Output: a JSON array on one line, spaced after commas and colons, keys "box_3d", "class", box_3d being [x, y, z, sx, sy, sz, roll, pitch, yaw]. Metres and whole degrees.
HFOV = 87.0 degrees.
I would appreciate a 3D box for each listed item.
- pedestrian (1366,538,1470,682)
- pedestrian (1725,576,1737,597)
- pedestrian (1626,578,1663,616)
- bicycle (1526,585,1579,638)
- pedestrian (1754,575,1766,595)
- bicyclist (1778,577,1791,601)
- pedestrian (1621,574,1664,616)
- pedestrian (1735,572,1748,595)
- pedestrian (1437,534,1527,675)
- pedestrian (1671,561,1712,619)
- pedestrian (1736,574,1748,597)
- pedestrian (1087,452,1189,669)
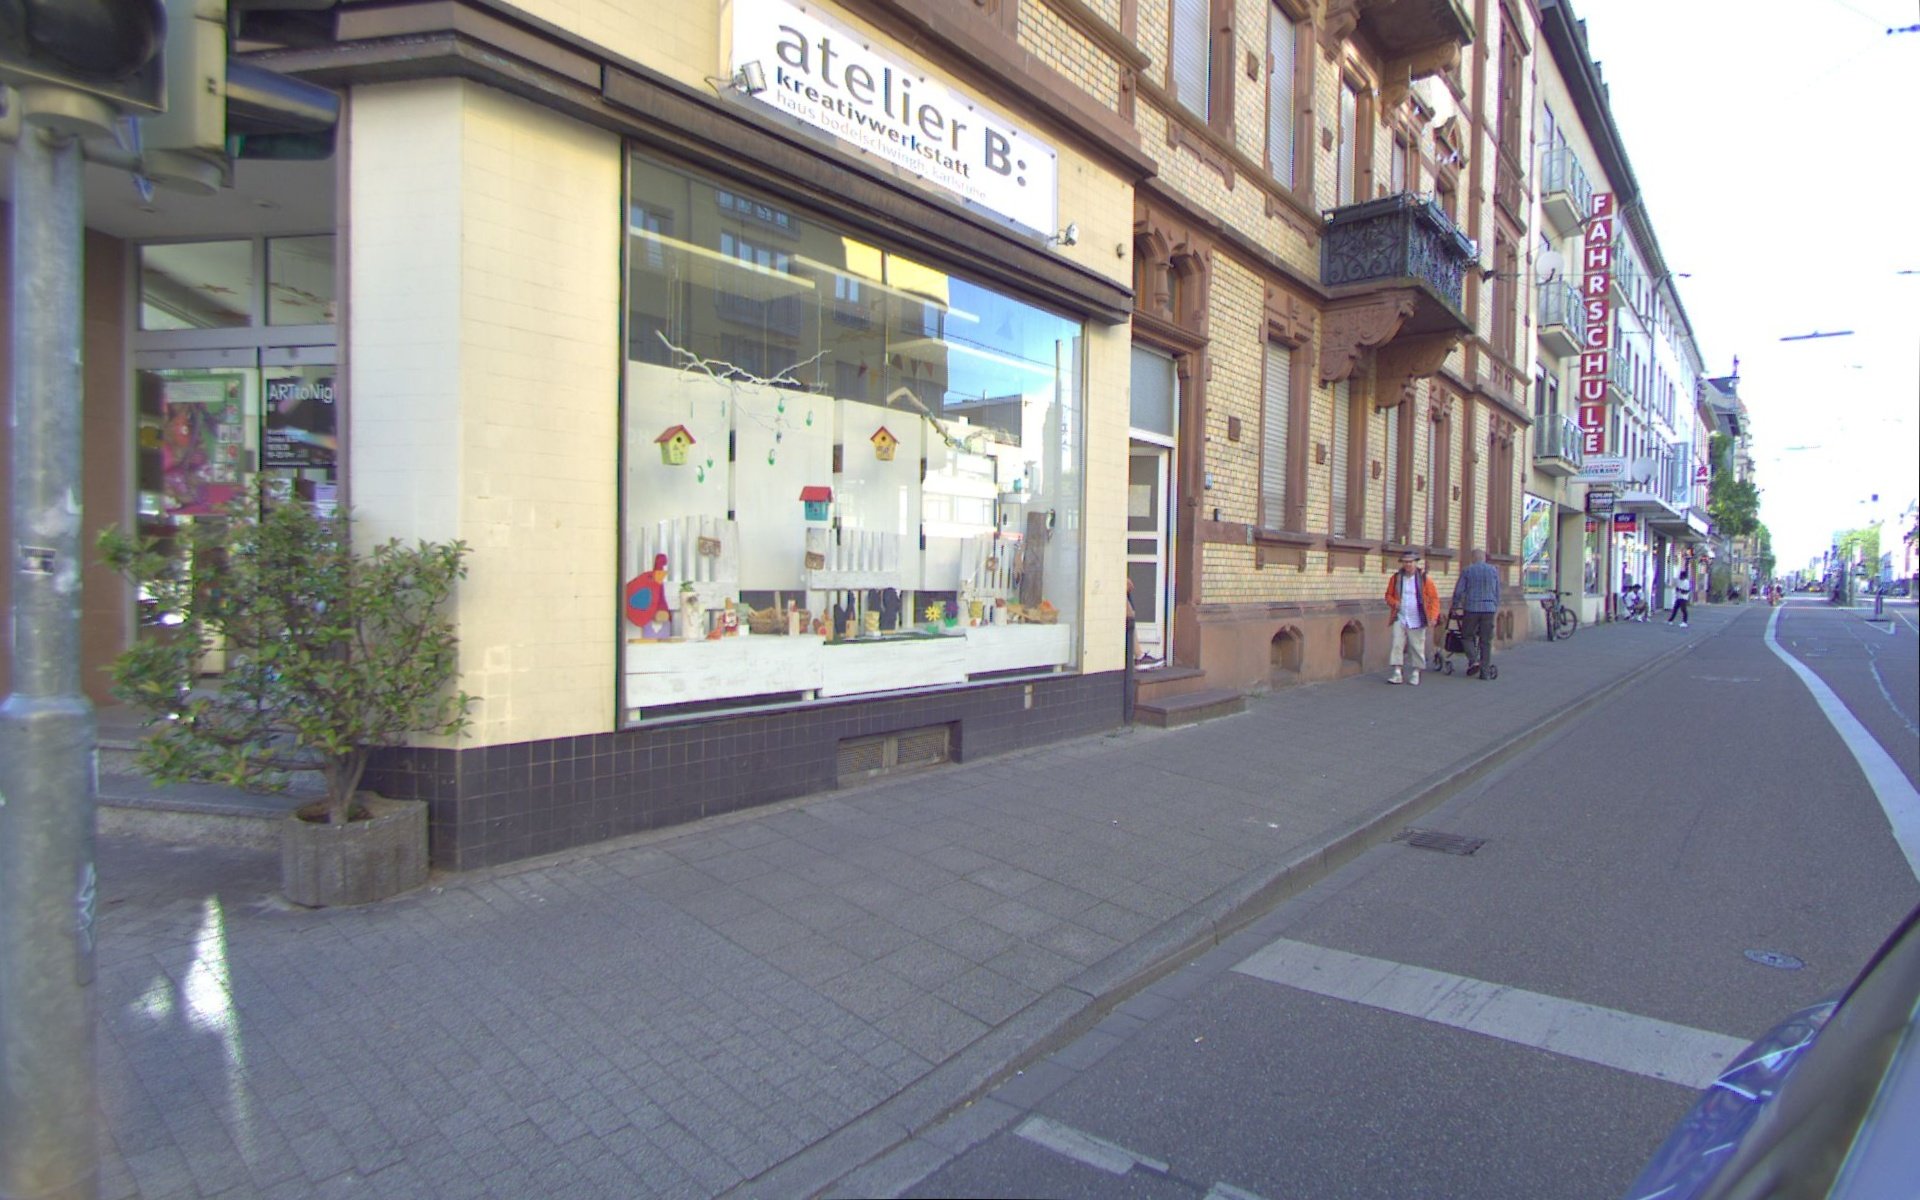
[{"box_3d": [5.667, 0.105, 12.518, 0.798, 1.646, 0.813, 9, 5, 41], "class": "pedestrian"}, {"box_3d": [59.360, -1.075, 77.924, 0.646, 1.598, 0.674, 2, 2, 34], "class": "pedestrian"}, {"box_3d": [23.381, -0.119, 34.597, 0.699, 1.188, 1.009, 7, 5, 21], "class": "pedestrian"}, {"box_3d": [12.985, 0.220, 22.160, 0.554, 1.073, 2.277, 5, 4, 40], "class": "bicycle"}, {"box_3d": [73.440, -1.355, 92.935, 0.804, 1.822, 0.750, 2, 2, 41], "class": "pedestrian"}, {"box_3d": [56.356, -0.758, 69.183, 0.674, 1.634, 0.826, 1, 1, 39], "class": "bicyclist"}, {"box_3d": [22.765, -0.190, 33.770, 0.816, 1.270, 0.706, 6, 5, 5], "class": "pedestrian"}, {"box_3d": [59.905, -1.267, 77.590, 0.685, 1.793, 0.649, 0, 2, -45], "class": "pedestrian"}, {"box_3d": [7.182, 0.047, 13.924, 0.805, 1.821, 0.750, 7, 4, 40], "class": "pedestrian"}, {"box_3d": [24.244, -0.335, 33.552, 0.666, 1.833, 0.708, 2, 5, -34], "class": "pedestrian"}, {"box_3d": [60.056, -1.147, 77.701, 0.646, 1.737, 0.796, 2, 2, 34], "class": "pedestrian"}, {"box_3d": [1.656, -0.365, 9.426, 0.514, 1.928, 0.586, 9, 5, 41], "class": "pedestrian"}]
